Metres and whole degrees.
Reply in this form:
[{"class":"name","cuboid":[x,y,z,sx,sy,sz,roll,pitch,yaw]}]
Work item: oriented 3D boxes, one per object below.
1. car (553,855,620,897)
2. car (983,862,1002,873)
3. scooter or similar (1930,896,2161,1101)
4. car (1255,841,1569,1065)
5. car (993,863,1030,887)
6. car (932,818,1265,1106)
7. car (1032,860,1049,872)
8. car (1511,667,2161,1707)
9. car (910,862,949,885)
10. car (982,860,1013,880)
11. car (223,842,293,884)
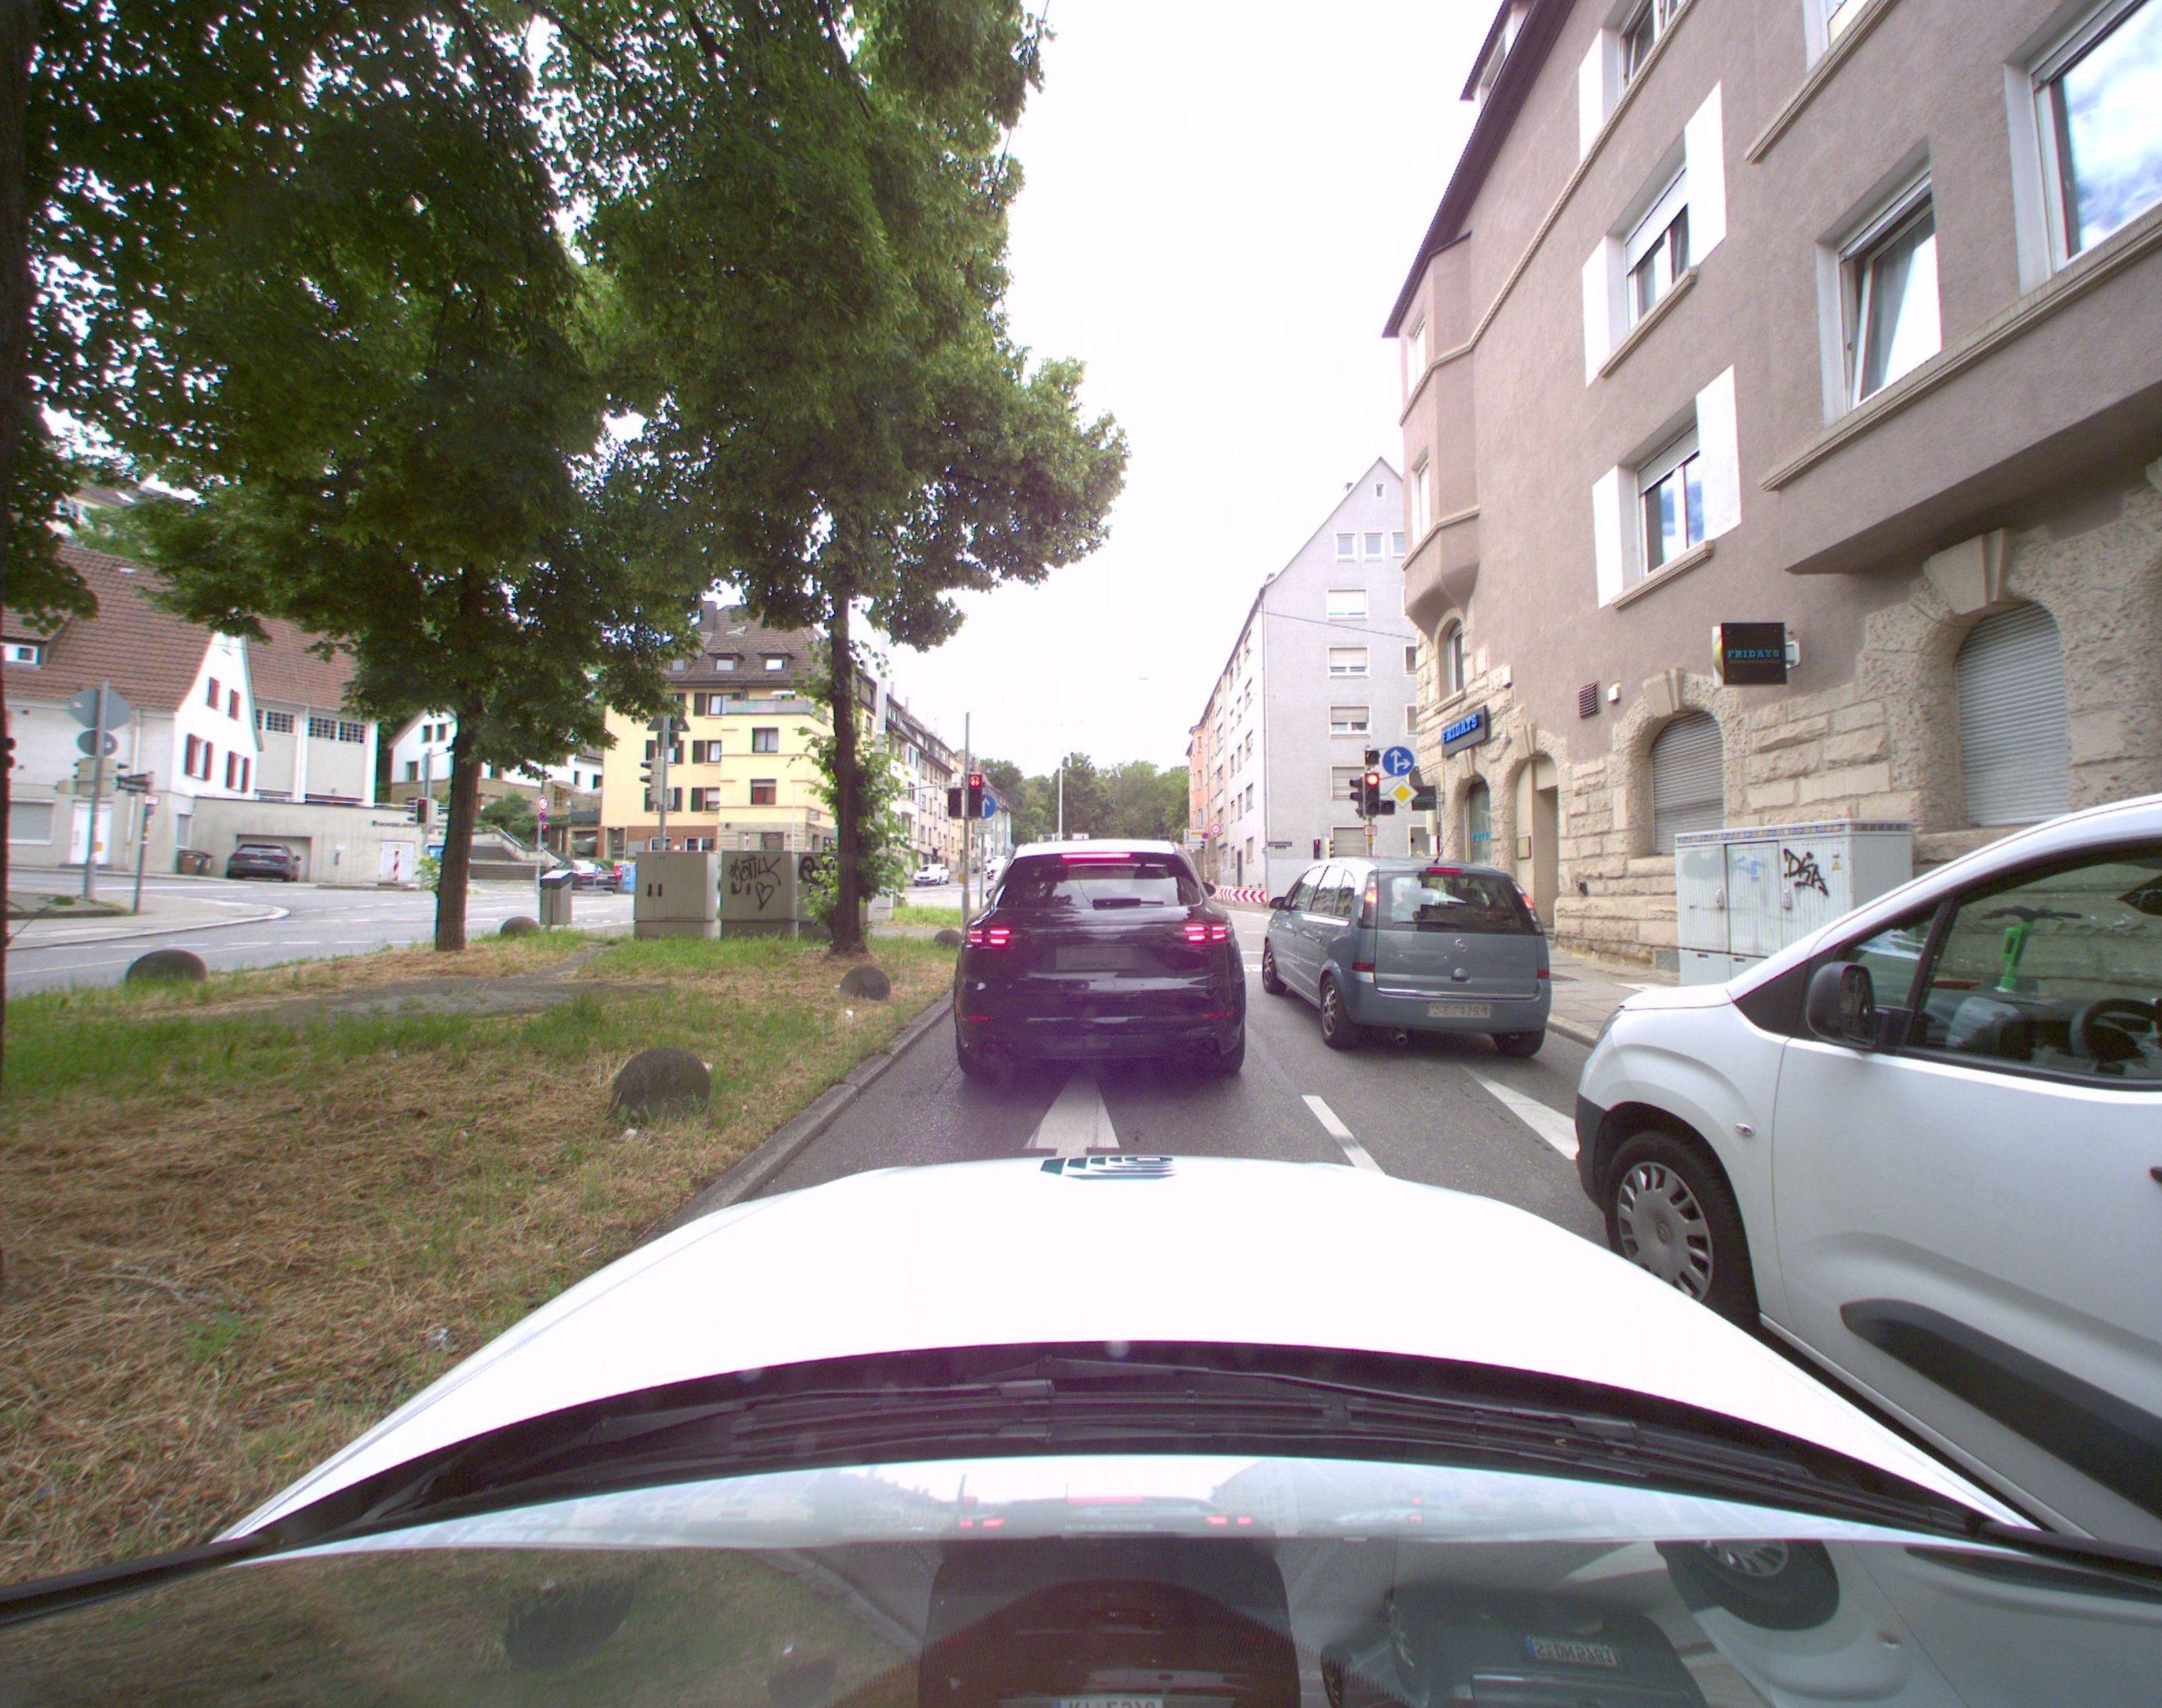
[{"class":"car","cuboid":[-23.594,1.006,38.848,3.477,1.596,1.881,7,4,44]},{"class":"car","cuboid":[-10.848,1.636,99.630,1.732,1.387,3.815,0,0,2]},{"class":"scooter or similar","cuboid":[6.492,0.863,5.286,0.524,1.104,1.424,-1,-1,4]},{"class":"car","cuboid":[2.869,0.754,7.936,1.622,1.598,3.670,3,0,2]},{"class":"car","cuboid":[-4.369,1.312,51.922,1.854,1.388,4.096,0,0,2]},{"class":"car","cuboid":[0.163,0.659,6.848,1.948,1.674,4.001,-1,-1,2]},{"class":"car","cuboid":[-5.124,1.581,103.297,1.611,1.480,3.828,-1,-2,5]},{"class":"car","cuboid":[2.819,0.608,1.107,1.969,1.775,4.676,3,0,0]},{"class":"car","cuboid":[-10.453,1.317,56.536,1.837,1.486,3.900,0,0,2]},{"class":"car","cuboid":[-6.996,1.338,68.730,1.966,1.610,4.560,0,0,2]},{"class":"car","cuboid":[-32.175,0.351,31.829,3.019,1.405,1.681,2,-4,42]}]
